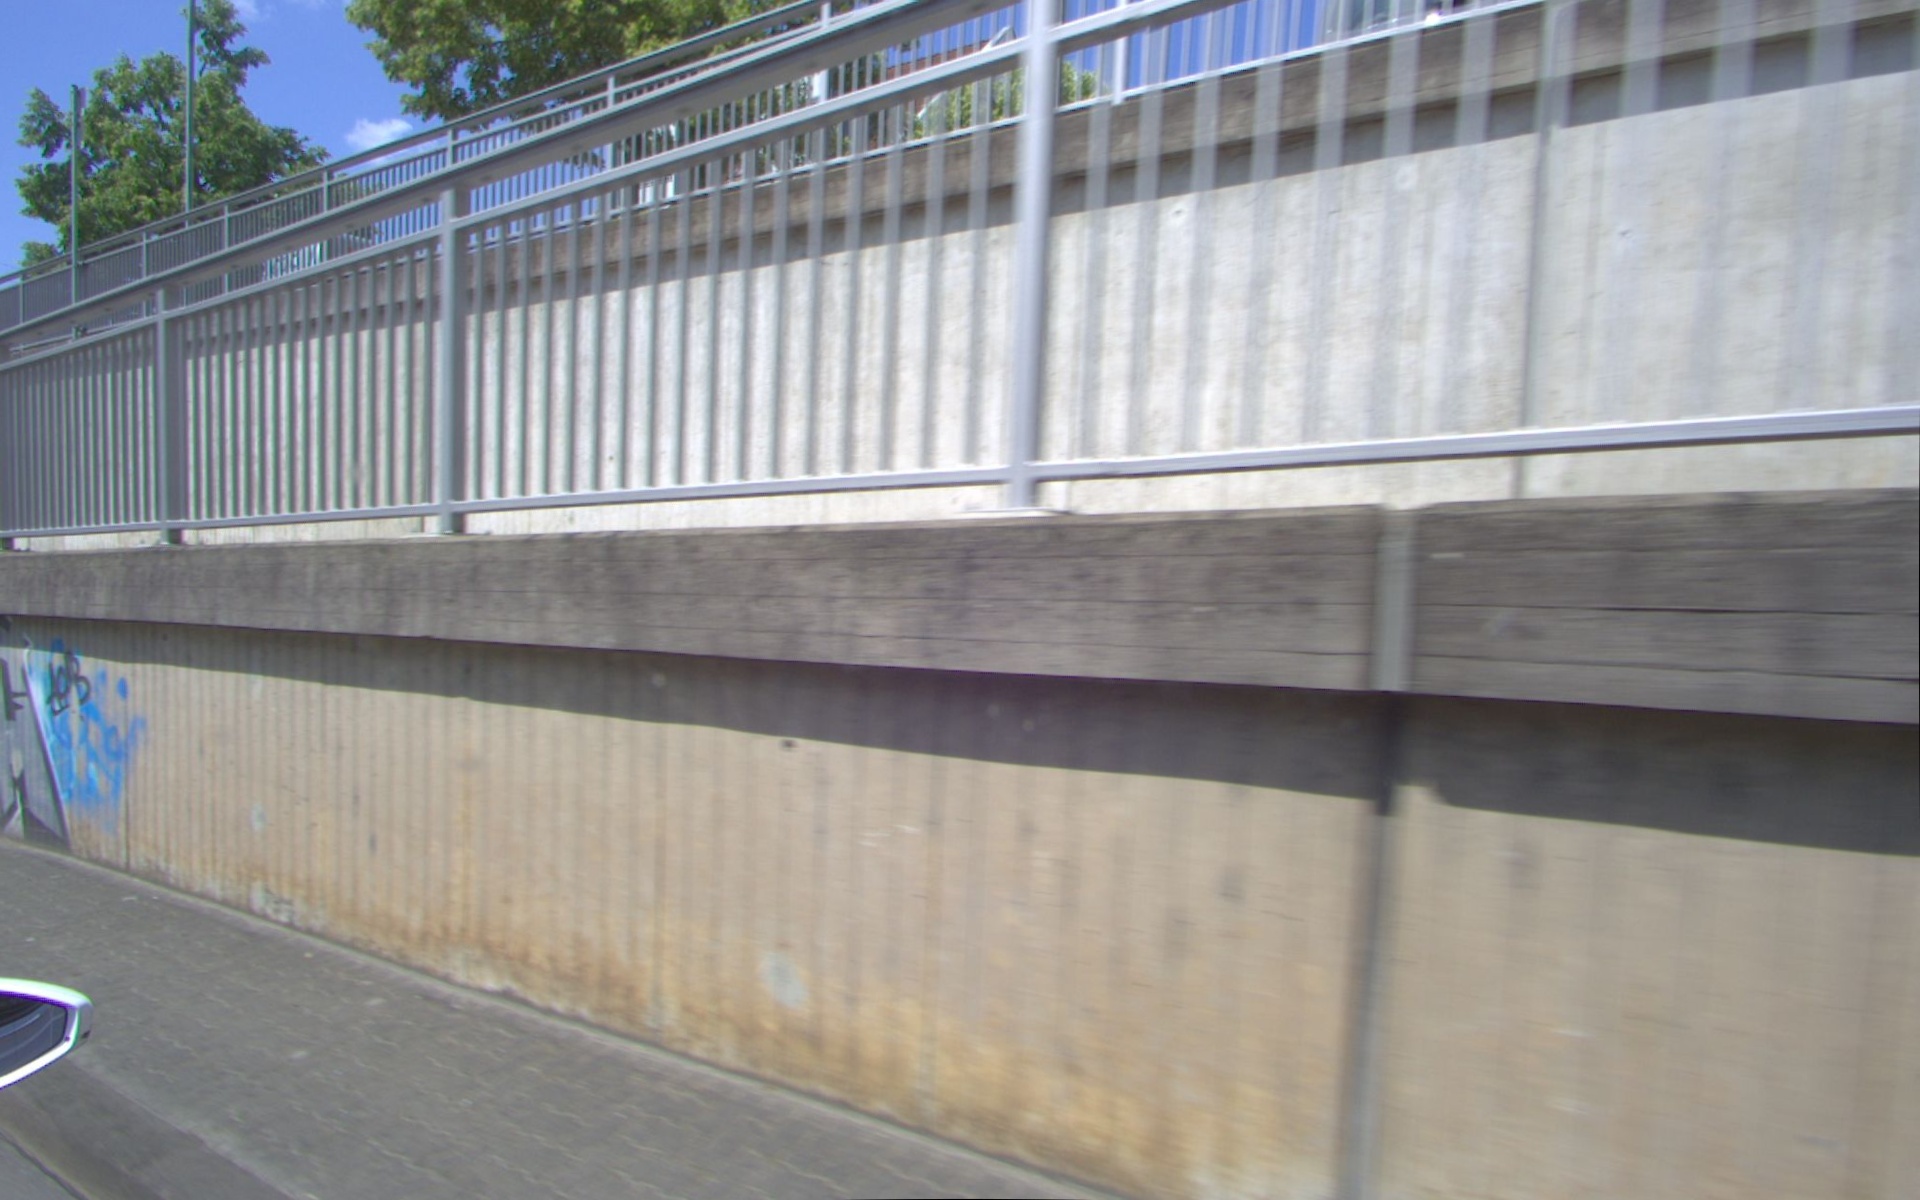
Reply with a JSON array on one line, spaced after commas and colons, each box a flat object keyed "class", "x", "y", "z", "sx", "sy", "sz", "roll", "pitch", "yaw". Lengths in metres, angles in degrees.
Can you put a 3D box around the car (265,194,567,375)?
[{"class": "car", "x": -8.669, "y": -4.930, "z": 16.282, "sx": 1.746, "sy": 1.505, "sz": 3.977, "roll": 0, "pitch": -1, "yaw": 35}]
